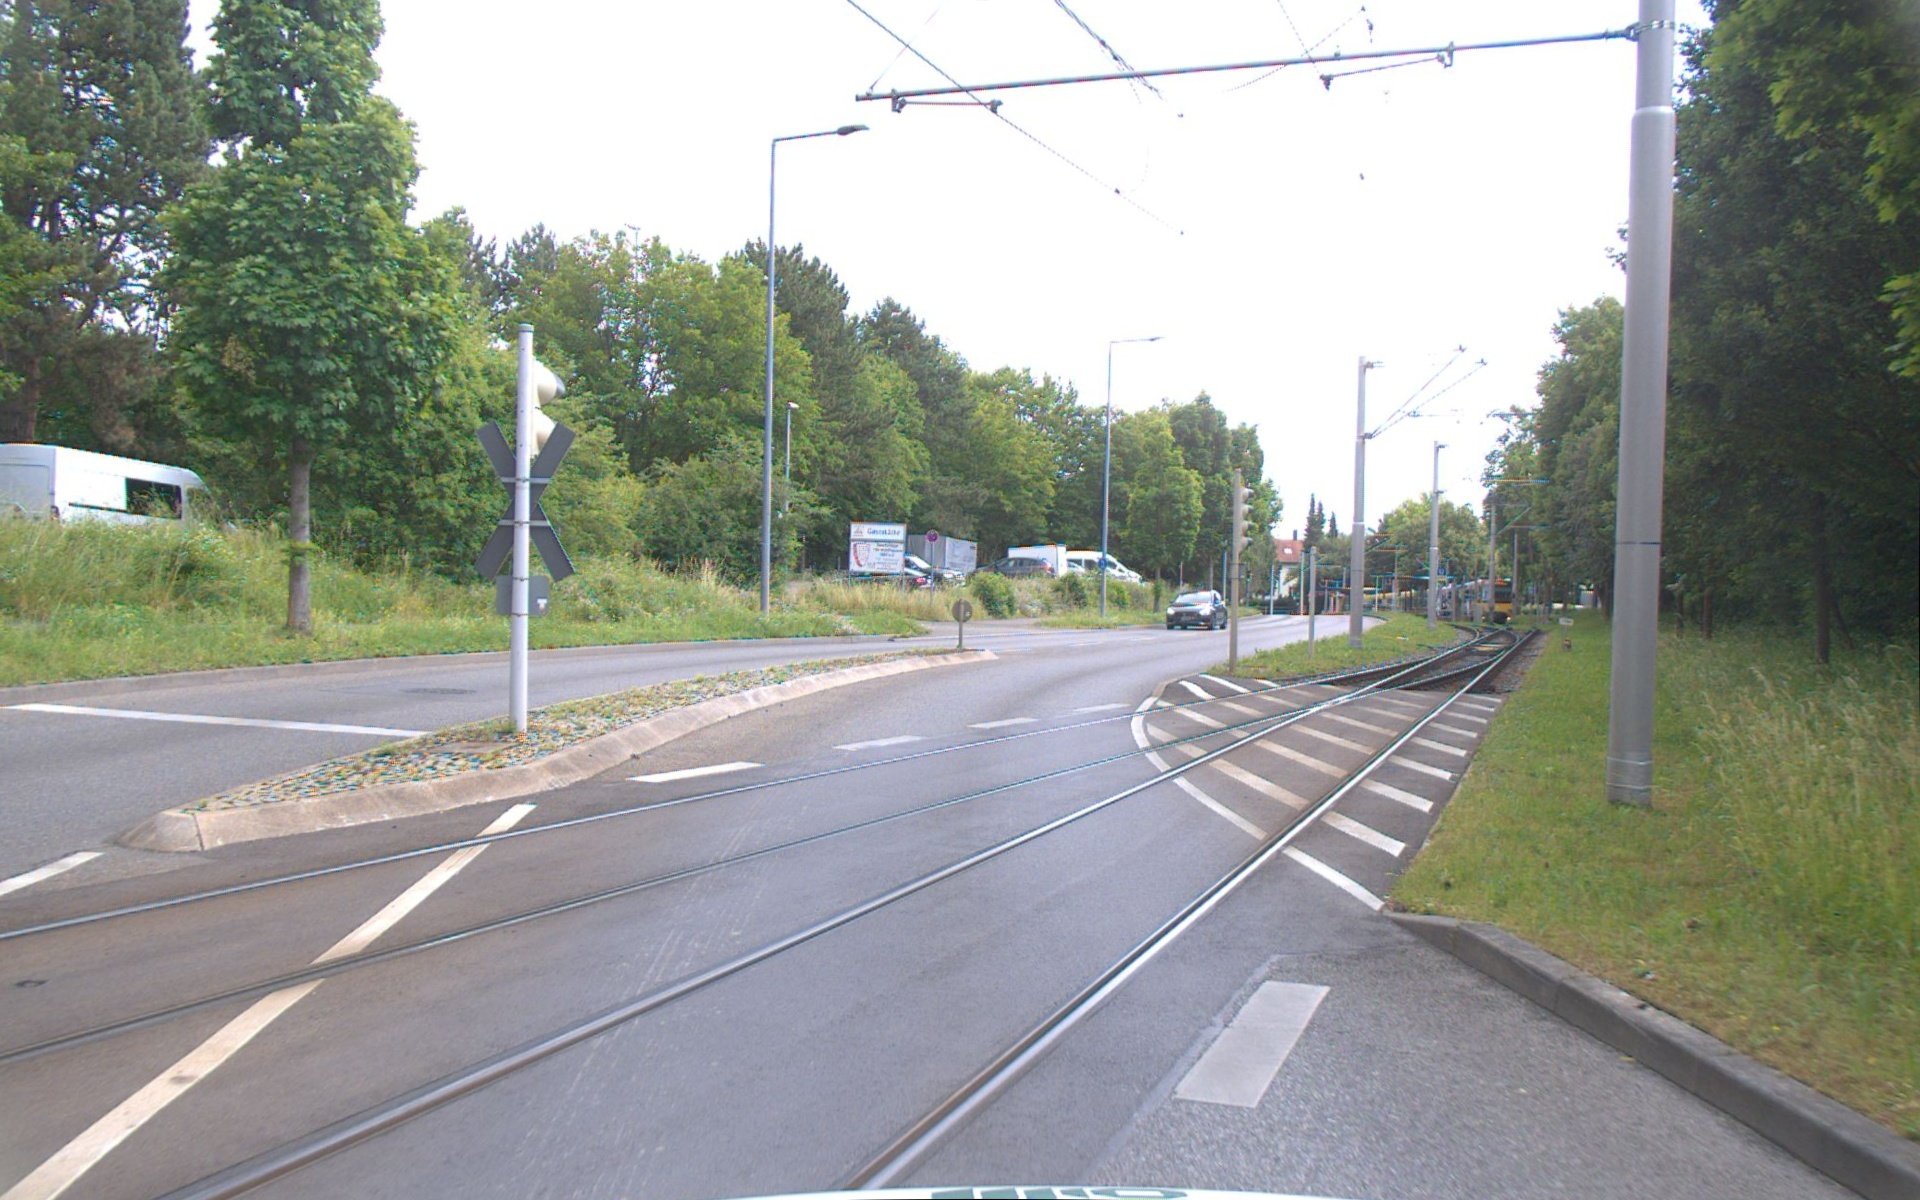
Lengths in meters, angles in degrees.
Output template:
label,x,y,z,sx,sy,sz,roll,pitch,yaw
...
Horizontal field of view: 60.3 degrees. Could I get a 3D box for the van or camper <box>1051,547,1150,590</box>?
label,x,y,z,sx,sy,sz,roll,pitch,yaw
van or camper,7.939,-1.767,93.524,5.221,2.241,2.001,2,1,17

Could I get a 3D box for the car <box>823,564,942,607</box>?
label,x,y,z,sx,sy,sz,roll,pitch,yaw
car,-2.798,-0.545,60.103,3.870,1.421,2.002,2,1,15

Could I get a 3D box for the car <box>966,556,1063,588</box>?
label,x,y,z,sx,sy,sz,roll,pitch,yaw
car,2.553,-1.290,76.890,4.219,1.474,1.838,0,0,13

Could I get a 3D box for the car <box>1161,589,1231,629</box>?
label,x,y,z,sx,sy,sz,roll,pitch,yaw
car,8.969,0.318,62.576,1.951,1.463,4.428,0,0,17

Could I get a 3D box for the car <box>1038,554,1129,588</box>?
label,x,y,z,sx,sy,sz,roll,pitch,yaw
car,6.787,-1.590,91.150,4.550,1.685,1.999,2,1,24

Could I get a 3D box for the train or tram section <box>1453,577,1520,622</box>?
label,x,y,z,sx,sy,sz,roll,pitch,yaw
train or tram section,45.590,-0.153,144.335,2.944,3.368,34.739,2,1,13

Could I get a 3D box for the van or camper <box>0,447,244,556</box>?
label,x,y,z,sx,sy,sz,roll,pitch,yaw
van or camper,-16.725,-1.889,32.880,1.952,1.910,4.632,2,1,18

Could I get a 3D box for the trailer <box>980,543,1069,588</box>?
label,x,y,z,sx,sy,sz,roll,pitch,yaw
trailer,3.123,-1.653,79.904,3.904,2.048,1.908,2,1,20

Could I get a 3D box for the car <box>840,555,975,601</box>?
label,x,y,z,sx,sy,sz,roll,pitch,yaw
car,-2.045,-0.870,65.095,4.822,1.612,2.208,2,1,16
